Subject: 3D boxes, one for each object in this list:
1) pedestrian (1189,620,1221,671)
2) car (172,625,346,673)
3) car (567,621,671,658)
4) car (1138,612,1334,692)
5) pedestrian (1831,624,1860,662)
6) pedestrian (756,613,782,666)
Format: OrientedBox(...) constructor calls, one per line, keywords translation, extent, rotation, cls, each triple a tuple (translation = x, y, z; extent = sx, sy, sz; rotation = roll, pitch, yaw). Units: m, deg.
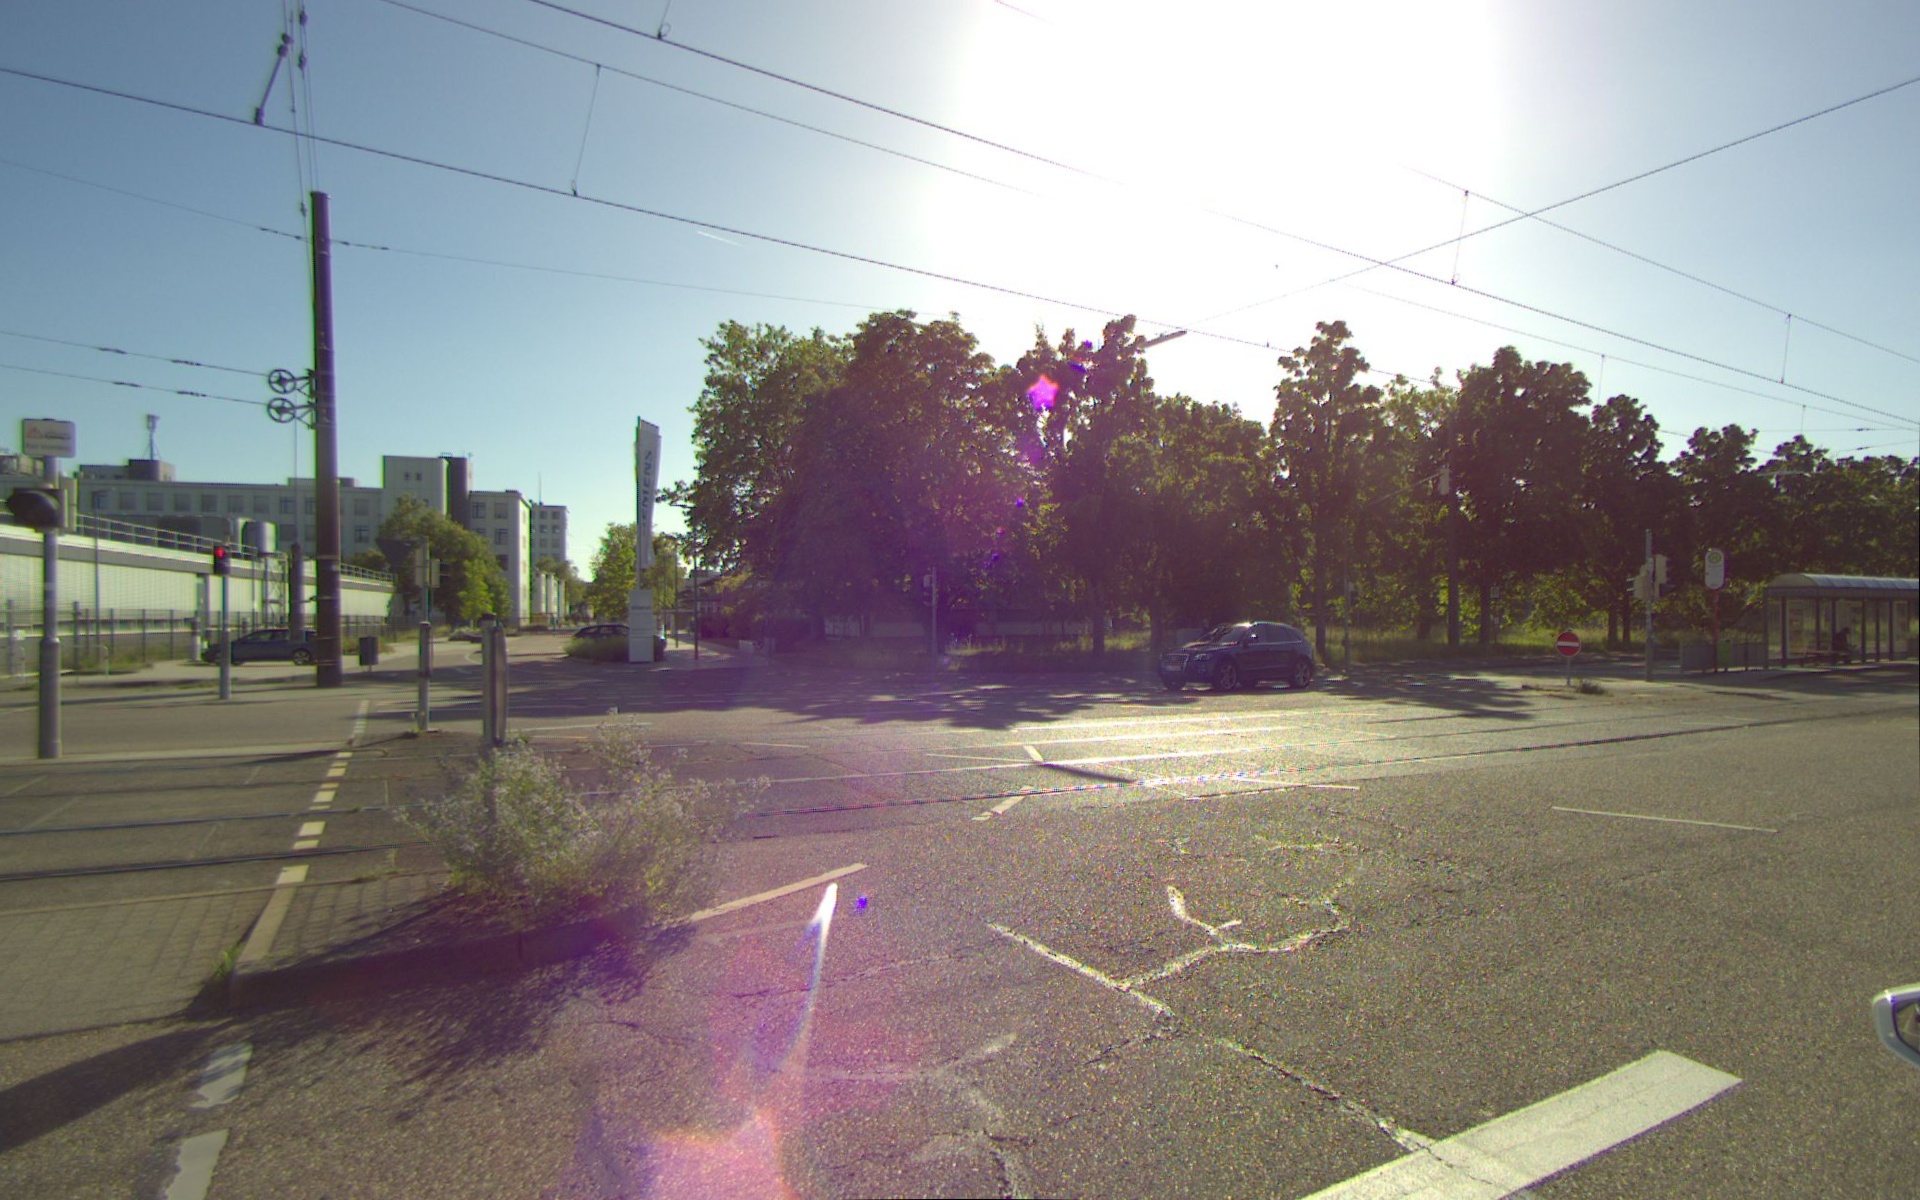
OrientedBox(translation=(8.511, 1.574, 34.968), extent=(0.919, 1.757, 0.761), rotation=(0, -1, -2), cls="pedestrian")
OrientedBox(translation=(-27.776, 1.951, 40.044), extent=(5.210, 1.772, 2.164), rotation=(1, -1, -19), cls="car")
OrientedBox(translation=(-16.907, 1.965, 49.851), extent=(4.768, 1.751, 2.042), rotation=(1, -1, -21), cls="car")
OrientedBox(translation=(6.951, 1.251, 25.145), extent=(4.740, 1.834, 2.082), rotation=(0, -3, -32), cls="car")
OrientedBox(translation=(30.079, 1.452, 34.130), extent=(0.574, 1.273, 0.561), rotation=(1, -3, -31), cls="pedestrian")
OrientedBox(translation=(-6.623, 1.355, 34.766), extent=(0.807, 1.811, 0.950), rotation=(0, -1, -16), cls="pedestrian")
